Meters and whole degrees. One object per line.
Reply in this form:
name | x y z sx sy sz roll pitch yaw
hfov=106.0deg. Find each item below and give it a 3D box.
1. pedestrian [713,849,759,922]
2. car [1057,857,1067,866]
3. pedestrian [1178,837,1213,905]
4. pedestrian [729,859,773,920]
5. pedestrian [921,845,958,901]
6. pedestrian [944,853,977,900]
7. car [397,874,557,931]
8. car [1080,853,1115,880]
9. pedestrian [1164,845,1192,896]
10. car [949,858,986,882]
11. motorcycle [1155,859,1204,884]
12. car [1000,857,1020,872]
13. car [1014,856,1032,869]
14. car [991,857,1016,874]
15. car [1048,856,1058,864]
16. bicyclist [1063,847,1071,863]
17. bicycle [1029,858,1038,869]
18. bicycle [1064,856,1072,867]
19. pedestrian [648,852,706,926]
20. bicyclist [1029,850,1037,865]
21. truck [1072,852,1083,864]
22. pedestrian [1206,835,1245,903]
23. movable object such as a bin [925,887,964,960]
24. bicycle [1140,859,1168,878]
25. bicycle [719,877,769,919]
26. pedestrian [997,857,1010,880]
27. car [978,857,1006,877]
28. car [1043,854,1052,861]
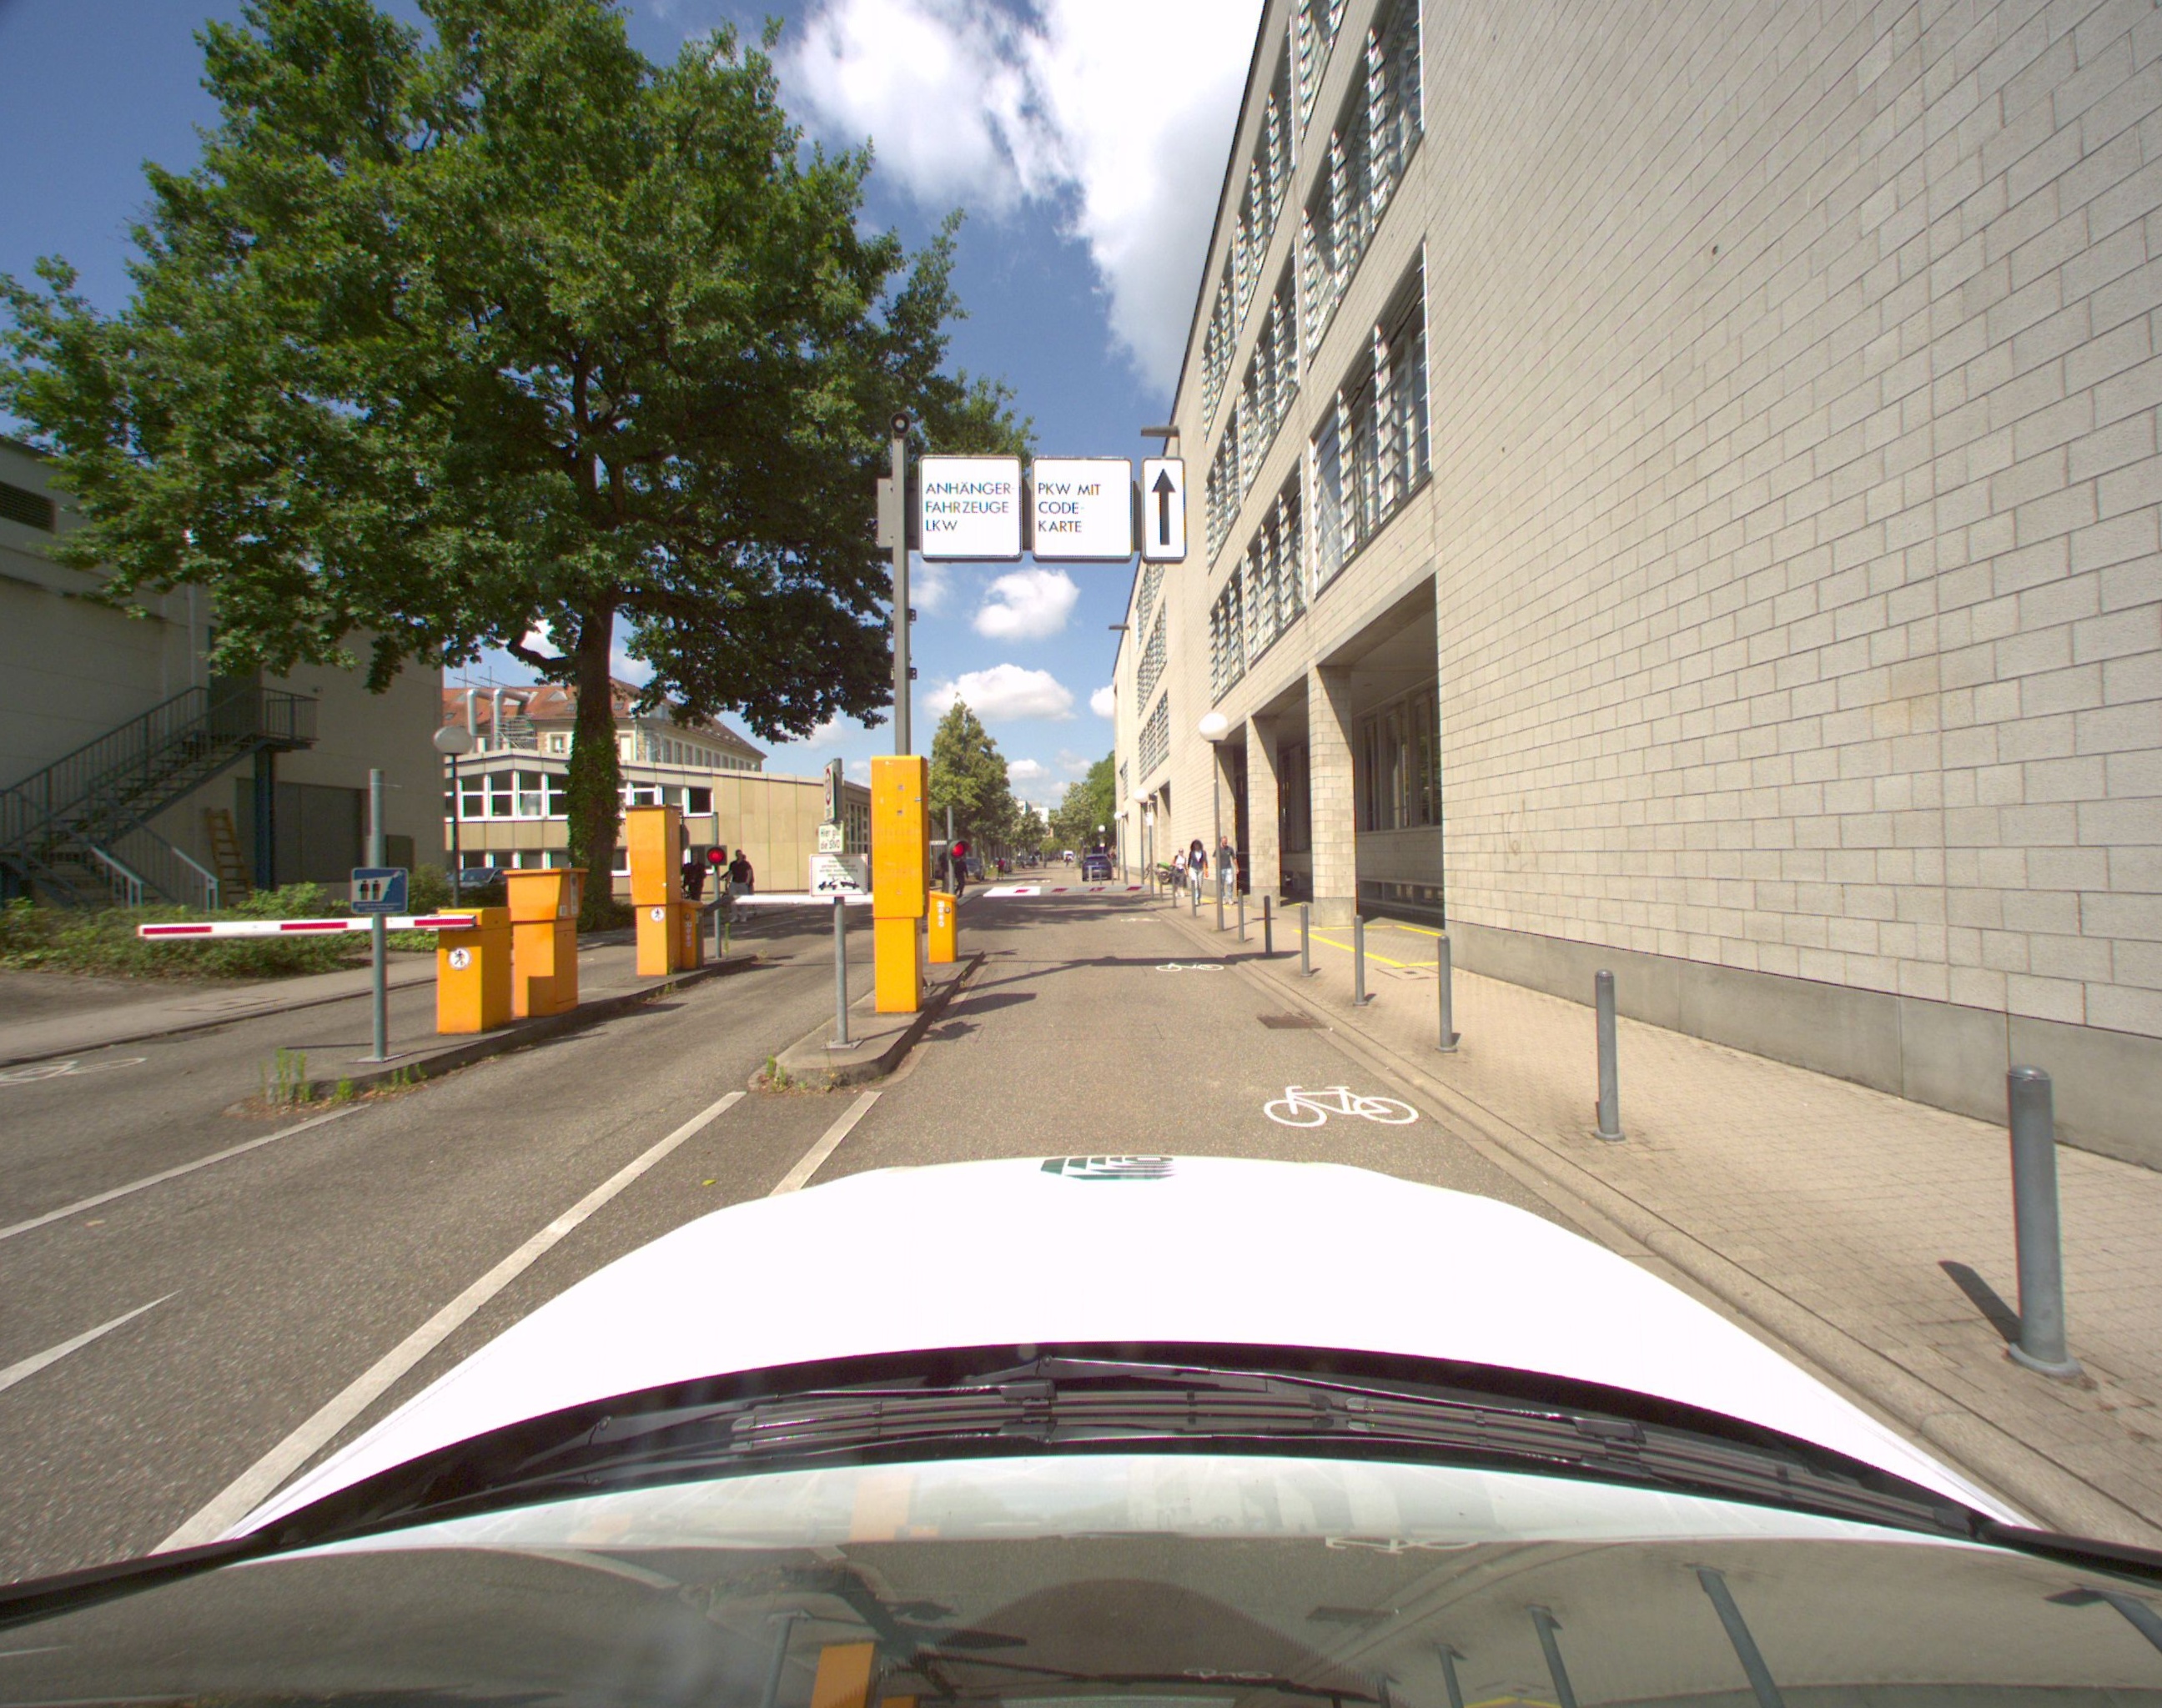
pedestrian | -8.769 0.780 20.726 0.703 1.809 1.001 -2 0 -2
car | -4.045 1.529 172.540 1.986 1.720 4.001 -2 -2 2
pedestrian | 3.110 0.446 22.198 0.693 1.780 1.084 -3 0 -2
pedestrian | -9.029 0.957 22.329 0.852 1.586 0.805 -2 0 -2
pedestrian | -4.969 0.645 28.558 1.010 1.925 0.878 0 -1 -35
pedestrian | -4.364 0.803 29.446 0.900 1.632 0.878 0 -1 -35
car | -18.544 1.422 25.297 1.824 1.466 4.296 -1 0 -2
car | 0.971 0.735 49.579 1.987 1.545 4.210 -1 0 0
pedestrian | 3.282 0.547 27.547 0.739 1.632 0.887 -3 0 -3
car | -7.841 1.065 56.754 1.987 1.545 4.210 -1 0 0
motorcycle | 4.464 0.806 37.055 2.116 1.023 0.660 -3 -2 0
car | -8.216 1.203 94.387 1.987 1.545 4.210 -1 0 0
car | -7.582 1.086 106.797 1.987 1.545 4.210 -1 0 0
car | -7.422 1.106 78.667 1.987 1.545 4.210 -1 0 0
car | -6.496 1.395 190.168 1.986 1.720 4.001 -2 -2 2
bicyclist | -1.855 0.140 109.538 0.984 2.132 1.035 -2 -2 -2
bicycle | -5.989 1.218 101.840 0.986 1.316 2.957 -1 -2 -6
bicycle | -1.773 1.028 109.210 0.984 1.316 2.962 -2 -2 -1
pedestrian | -10.295 0.875 20.785 1.053 1.816 0.805 -2 0 -2
bicyclist | -5.997 0.442 101.706 0.986 1.884 1.034 -1 -2 -6
truck | -0.720 0.772 154.481 1.989 2.014 3.996 -2 -2 -2
pedestrian | 3.922 0.405 22.148 0.765 1.780 0.910 -3 0 -3
movable object such as a bin | -1.773 0.898 10.581 0.414 0.905 0.353 -1 0 3
bicycle | 4.187 0.824 46.697 1.536 1.066 0.649 -2 0 6
bicycle | -9.509 1.230 23.028 0.643 1.049 1.899 -2 0 -2
pedestrian | -5.512 1.045 57.664 0.892 1.632 0.886 -1 -1 -5
car | -7.597 1.095 69.874 1.987 1.545 4.210 -1 0 0
car | -8.715 0.910 211.274 1.986 1.720 4.001 -2 -2 2
